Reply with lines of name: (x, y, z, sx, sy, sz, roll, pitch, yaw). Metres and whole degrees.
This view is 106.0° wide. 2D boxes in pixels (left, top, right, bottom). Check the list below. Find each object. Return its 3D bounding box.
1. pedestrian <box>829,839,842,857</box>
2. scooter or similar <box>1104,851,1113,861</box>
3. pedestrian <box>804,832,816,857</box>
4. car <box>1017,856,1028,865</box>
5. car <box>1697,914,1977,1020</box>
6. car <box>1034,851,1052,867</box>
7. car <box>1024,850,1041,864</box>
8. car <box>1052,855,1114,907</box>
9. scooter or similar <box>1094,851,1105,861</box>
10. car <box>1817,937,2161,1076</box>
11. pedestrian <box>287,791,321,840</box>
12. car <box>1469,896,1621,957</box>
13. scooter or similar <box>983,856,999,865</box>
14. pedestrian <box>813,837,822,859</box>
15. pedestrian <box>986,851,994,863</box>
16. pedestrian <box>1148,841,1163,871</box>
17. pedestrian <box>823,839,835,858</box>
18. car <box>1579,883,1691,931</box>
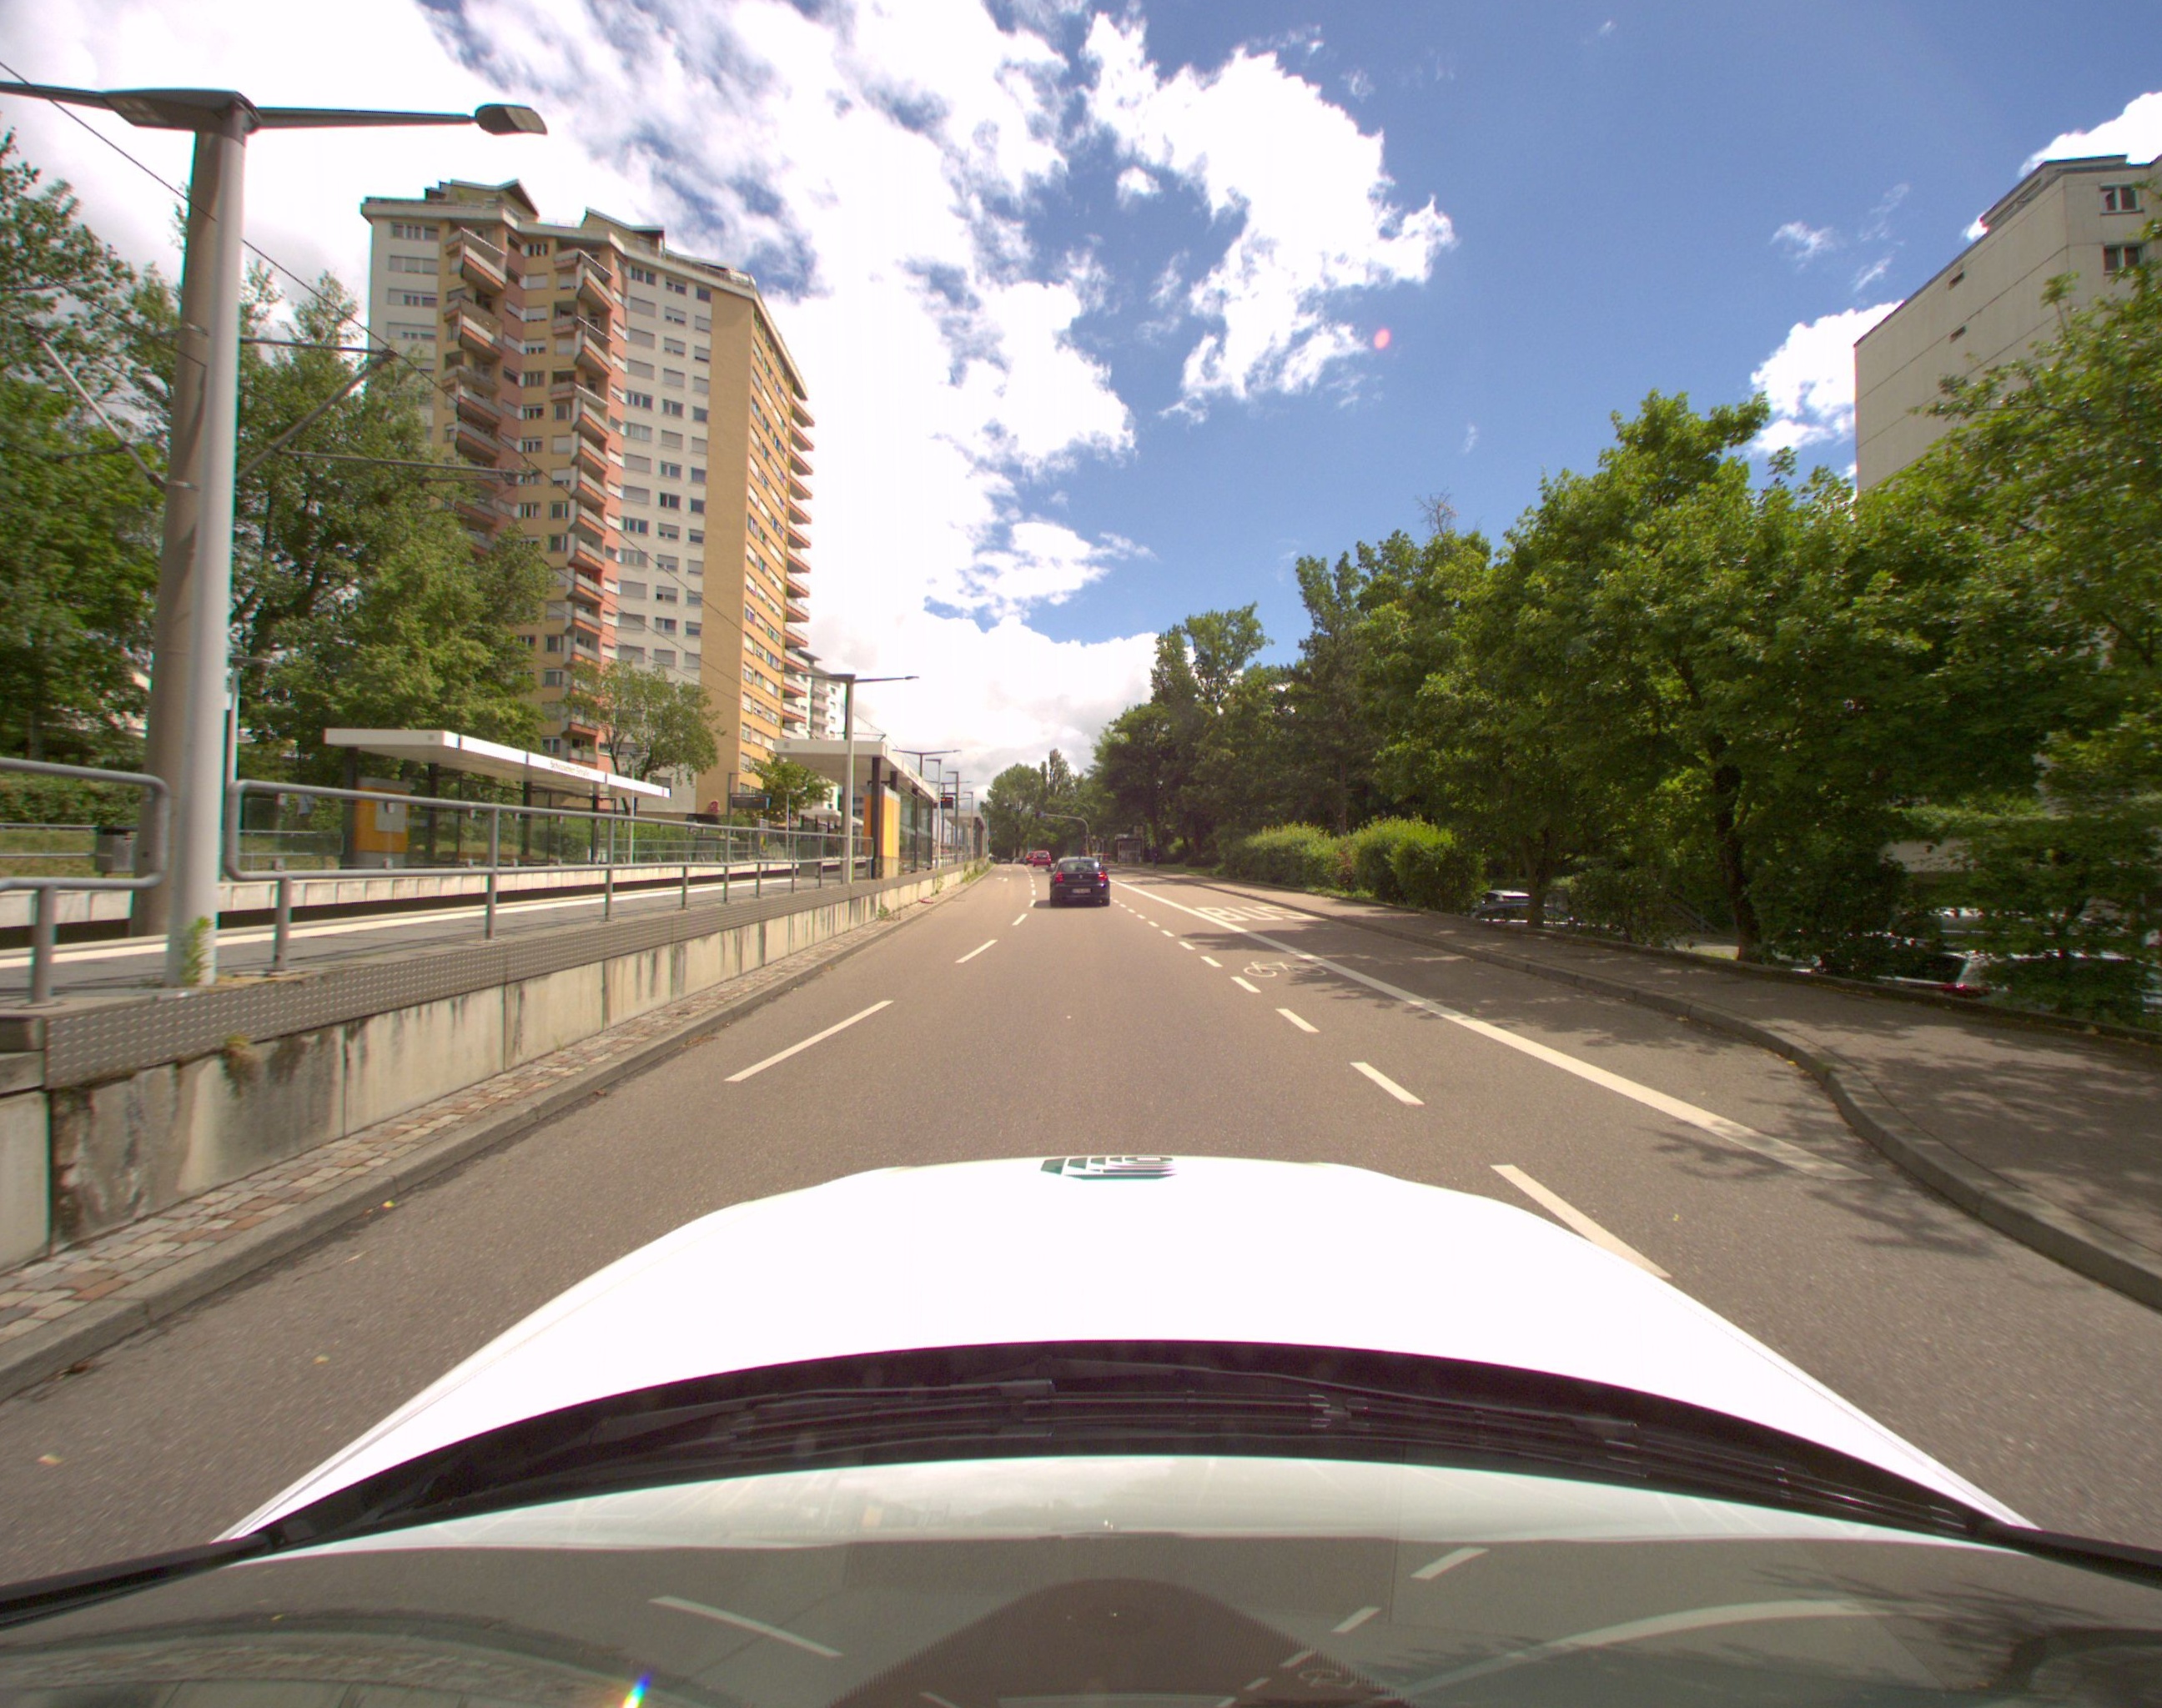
pedestrian: (-17.452, -0.437, 57.946, 0.741, 1.236, 0.517, -1, 0, -5)
scooter or similar: (3.454, 0.259, 102.077, 1.109, 1.258, 0.330, -1, 0, -17)
pedestrian: (-17.524, -0.610, 52.662, 0.524, 1.644, 0.558, -1, 0, -37)
car: (-10.118, 1.090, 140.816, 1.649, 1.419, 3.516, 0, 0, -1)
car: (12.024, 1.756, 13.108, 2.948, 1.470, 1.723, 0, -1, -1)
car: (-3.504, 0.406, 74.520, 1.592, 1.419, 3.512, -1, 0, -4)
car: (-5.247, 0.308, 87.843, 1.653, 1.419, 3.509, -1, 0, -6)
car: (0.003, 0.741, 24.335, 1.651, 1.419, 3.513, -1, 0, -3)
scooter or similar: (2.348, 0.290, 101.205, 1.292, 1.189, 0.382, -1, 0, -21)
car: (11.593, 1.799, 9.992, 3.742, 1.432, 1.563, 0, -2, -1)
pedestrian: (-27.316, -1.344, 28.638, 0.649, 1.712, 0.503, -1, 0, -5)
car: (12.506, 1.931, 22.075, 3.244, 1.490, 1.573, 0, 0, 1)
scooter or similar: (-10.466, 0.779, 94.927, 1.791, 1.050, 0.407, -1, 0, -29)
pedestrian: (-17.245, -0.375, 53.283, 0.542, 1.380, 0.519, -1, -3, -14)
pedestrian: (-10.688, 0.366, 95.432, 0.864, 1.442, 0.797, -1, 0, -7)
pedestrian: (4.919, 0.133, 53.872, 0.799, 1.895, 1.269, 1, 0, -4)
pedestrian: (-17.634, -0.391, 57.022, 0.642, 1.369, 0.506, -1, 0, -5)
car: (21.789, 2.031, 32.220, 1.817, 1.618, 4.002, 0, 0, 2)
